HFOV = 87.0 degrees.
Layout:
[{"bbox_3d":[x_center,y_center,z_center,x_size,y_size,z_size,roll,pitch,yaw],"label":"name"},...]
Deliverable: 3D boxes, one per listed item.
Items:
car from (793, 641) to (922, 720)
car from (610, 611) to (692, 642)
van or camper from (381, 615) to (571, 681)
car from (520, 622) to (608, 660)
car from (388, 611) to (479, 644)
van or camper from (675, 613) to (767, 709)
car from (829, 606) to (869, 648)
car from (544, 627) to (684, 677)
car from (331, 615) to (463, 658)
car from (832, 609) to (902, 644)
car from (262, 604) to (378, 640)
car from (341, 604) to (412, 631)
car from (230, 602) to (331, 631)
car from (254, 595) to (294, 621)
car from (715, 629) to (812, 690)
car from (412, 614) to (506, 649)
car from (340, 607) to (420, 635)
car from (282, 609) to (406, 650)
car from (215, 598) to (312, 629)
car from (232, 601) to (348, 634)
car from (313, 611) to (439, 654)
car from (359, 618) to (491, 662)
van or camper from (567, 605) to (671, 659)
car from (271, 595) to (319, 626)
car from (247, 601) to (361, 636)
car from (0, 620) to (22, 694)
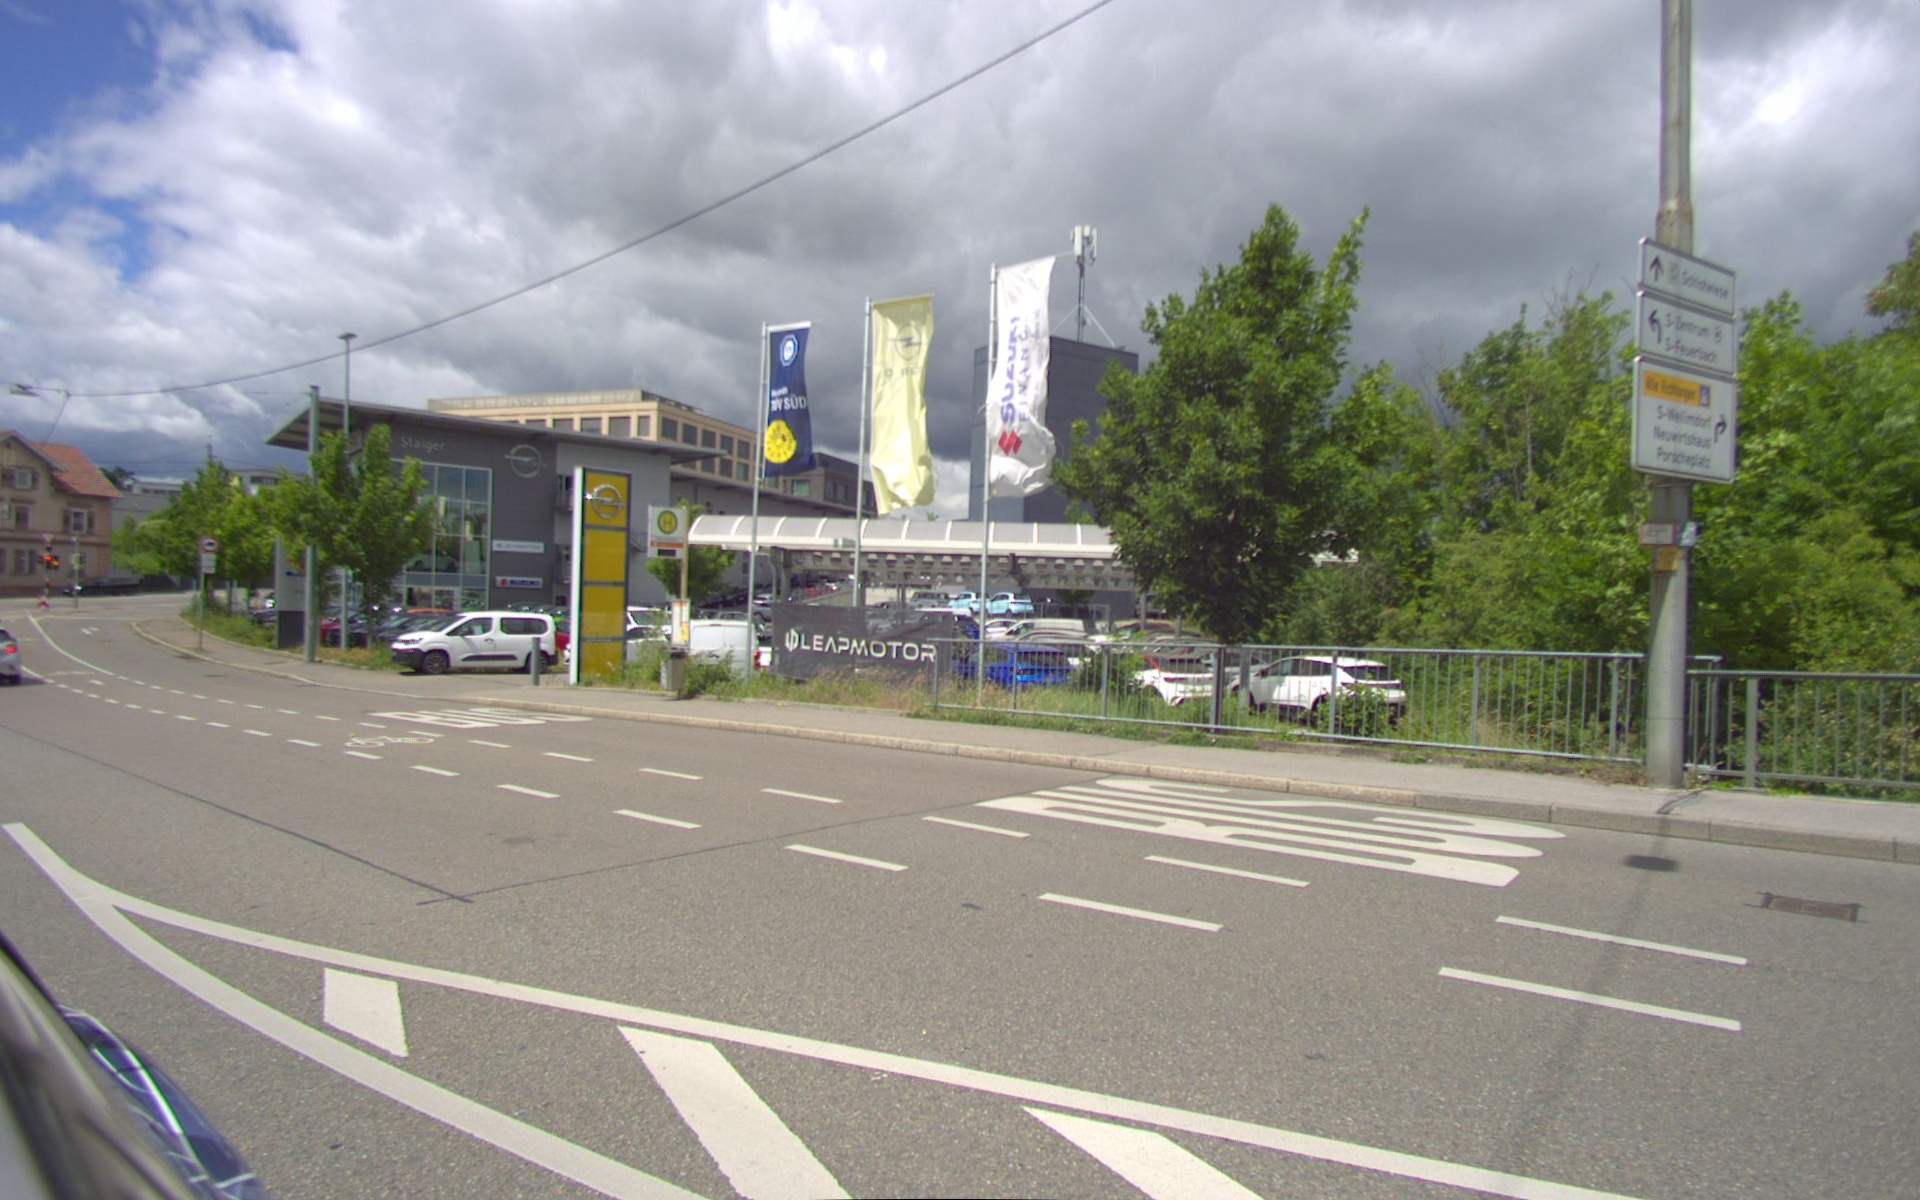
[{"bbox_3d":[-2.503,1.806,23.719,1.786,1.477,4.013,1,0,-25],"label":"car"},{"bbox_3d":[-14.209,1.223,46.569,1.517,1.384,3.280,0,-1,42],"label":"car"},{"bbox_3d":[-14.047,1.347,29.548,4.613,1.763,2.002,2,-1,-44],"label":"van or camper"},{"bbox_3d":[-14.371,1.459,36.656,3.473,1.263,1.524,1,-1,41],"label":"car"},{"bbox_3d":[-23.515,1.230,45.273,1.517,1.384,3.280,0,-1,42],"label":"car"},{"bbox_3d":[-5.897,1.360,24.593,1.956,1.978,4.973,0,0,-16],"label":"van or camper"},{"bbox_3d":[-6.004,1.429,55.195,1.970,1.962,4.004,0,3,-3],"label":"car"},{"bbox_3d":[-11.491,1.690,33.943,2.000,1.447,4.489,1,0,22],"label":"car"},{"bbox_3d":[-20.419,1.305,36.827,1.772,1.472,3.794,0,-1,40],"label":"car"},{"bbox_3d":[-5.795,1.615,63.111,3.938,1.824,2.003,-3,4,-41],"label":"car"},{"bbox_3d":[-27.882,0.962,44.185,1.812,1.509,3.938,0,-1,42],"label":"car"},{"bbox_3d":[-31.527,0.947,54.738,1.518,1.384,2.977,0,-1,43],"label":"car"},{"bbox_3d":[-34.736,0.862,51.768,4.019,1.405,1.814,2,-1,-44],"label":"car"},{"bbox_3d":[-44.624,0.507,65.819,1.917,1.485,4.316,-1,3,-37],"label":"car"},{"bbox_3d":[-5.655,1.682,29.618,1.795,1.477,3.995,1,0,4],"label":"car"},{"bbox_3d":[-21.479,1.343,43.432,1.517,1.384,3.280,0,-1,42],"label":"car"},{"bbox_3d":[-29.862,1.077,52.165,1.517,1.384,3.280,0,-1,42],"label":"car"},{"bbox_3d":[-24.376,1.168,40.113,1.812,1.509,3.808,0,-1,41],"label":"car"},{"bbox_3d":[-36.794,0.720,53.531,3.940,1.509,1.814,2,-1,-44],"label":"car"},{"bbox_3d":[-31.512,0.844,47.703,1.812,1.509,4.232,0,-1,42],"label":"car"},{"bbox_3d":[-22.361,1.233,38.817,1.811,1.509,3.776,0,-1,39],"label":"car"},{"bbox_3d":[-18.603,1.362,35.305,1.792,1.420,3.664,1,-1,36],"label":"car"},{"bbox_3d":[-14.004,1.270,41.452,4.685,2.029,1.972,0,-1,42],"label":"van or camper"},{"bbox_3d":[-38.629,0.594,58.762,1.918,1.574,4.003,-1,3,-40],"label":"car"},{"bbox_3d":[-29.766,0.862,46.000,1.812,1.509,4.011,0,-1,42],"label":"car"},{"bbox_3d":[-24.746,1.406,25.147,3.999,1.593,1.701,2,3,41],"label":"car"}]
